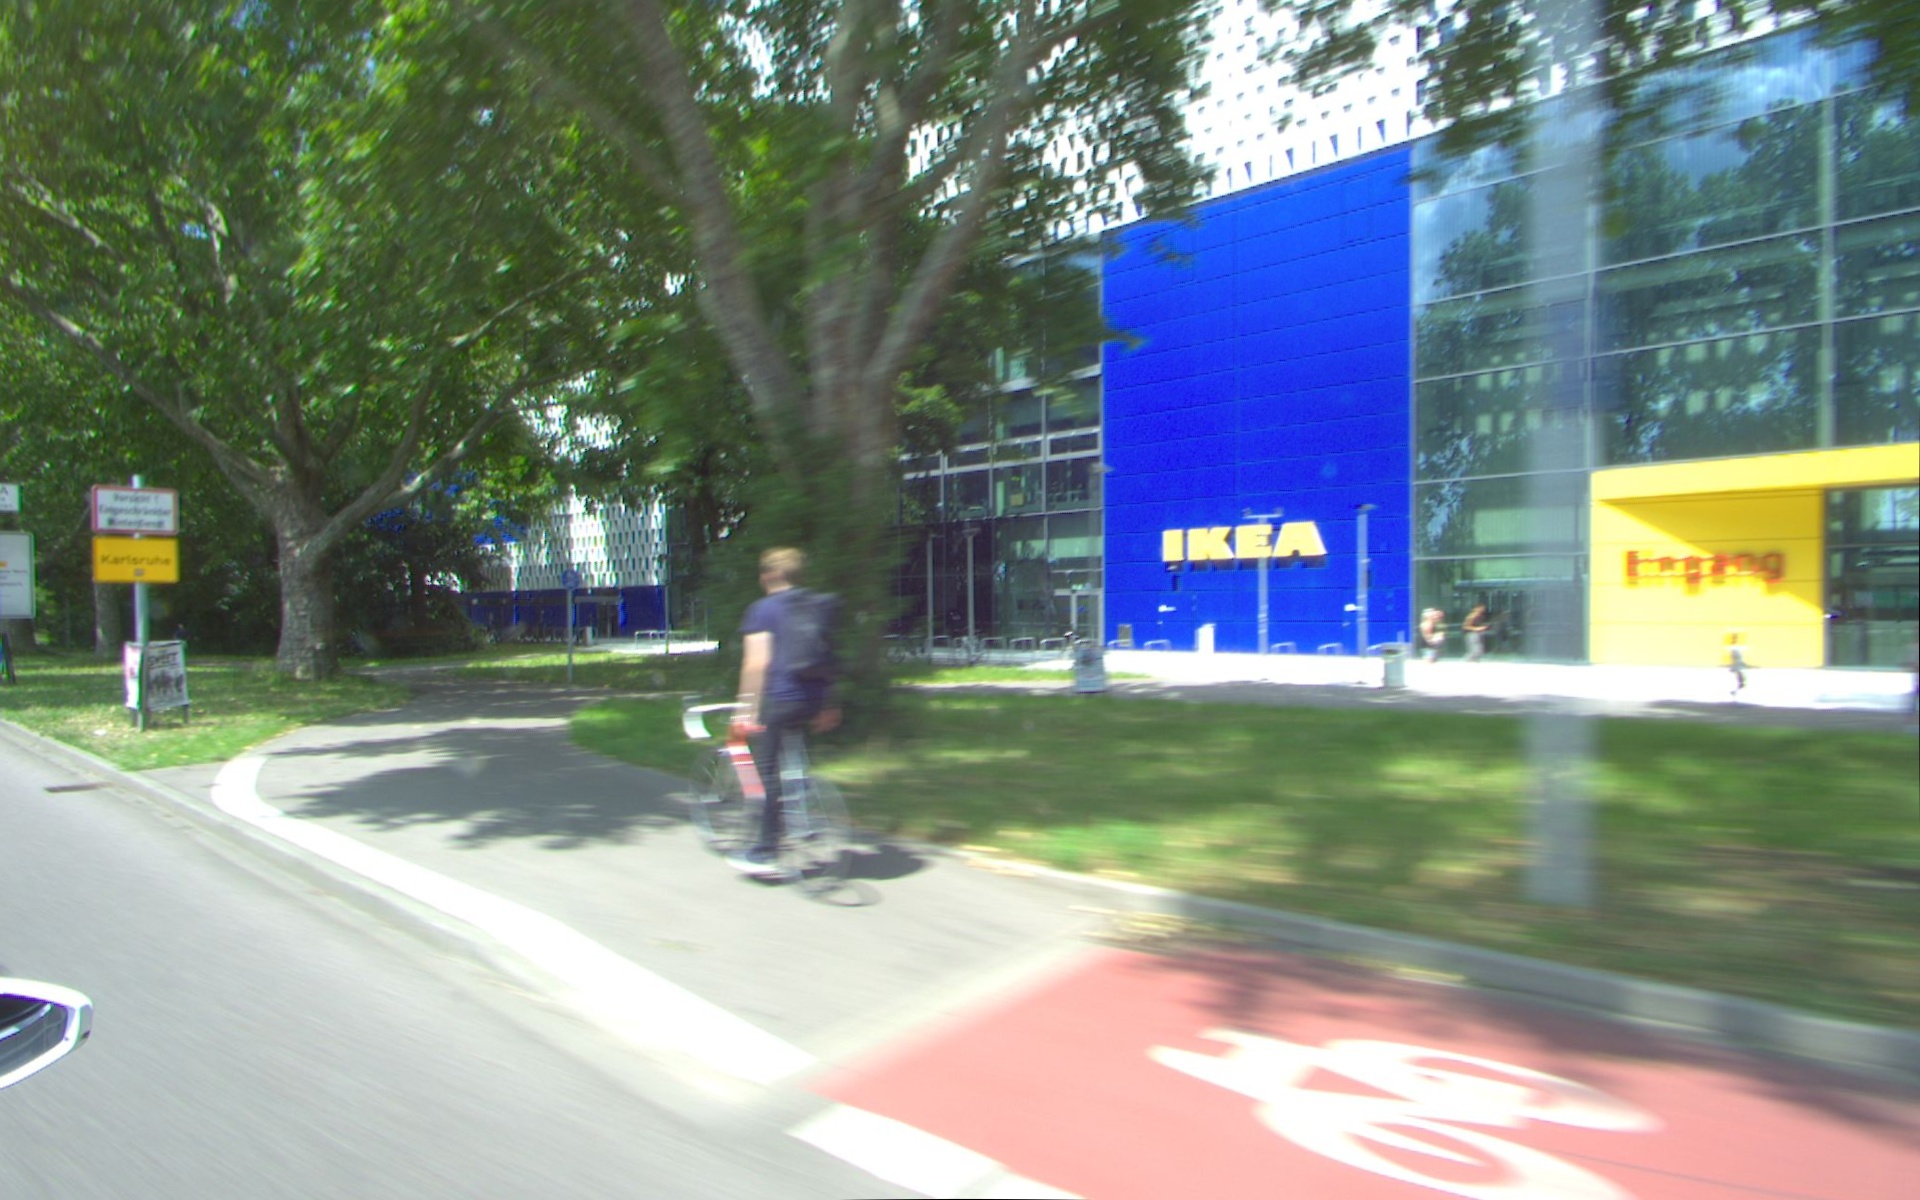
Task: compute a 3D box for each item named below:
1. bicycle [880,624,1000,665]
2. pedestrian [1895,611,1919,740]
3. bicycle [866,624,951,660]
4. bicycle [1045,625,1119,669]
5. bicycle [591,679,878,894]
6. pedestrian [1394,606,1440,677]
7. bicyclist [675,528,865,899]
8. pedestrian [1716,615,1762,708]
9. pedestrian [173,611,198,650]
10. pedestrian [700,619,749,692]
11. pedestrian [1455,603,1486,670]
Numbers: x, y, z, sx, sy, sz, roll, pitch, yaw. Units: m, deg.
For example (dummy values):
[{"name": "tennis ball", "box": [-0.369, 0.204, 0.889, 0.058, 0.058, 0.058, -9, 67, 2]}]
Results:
[{"name": "bicycle", "box": [-0.624, 1.409, 32.324, 3.776, 1.191, 0.983, -1, 1, -24]}, {"name": "pedestrian", "box": [13.624, 1.057, 14.108, 0.662, 1.795, 0.660, 0, 0, 44]}, {"name": "bicycle", "box": [-1.742, 1.397, 34.026, 2.733, 1.136, 0.893, 0, 0, -24]}, {"name": "bicycle", "box": [3.618, 1.357, 29.583, 2.499, 1.191, 0.688, -1, 1, -42]}, {"name": "bicycle", "box": [-1.388, 0.997, 5.887, 2.002, 1.011, 0.617, -3, -3, 42]}, {"name": "pedestrian", "box": [11.656, 1.052, 25.543, 0.770, 1.688, 0.886, -3, 5, 2]}, {"name": "bicyclist", "box": [-1.066, 0.588, 5.591, 0.914, 1.870, 0.606, -1, -2, 42]}, {"name": "pedestrian", "box": [14.199, 1.106, 18.262, 0.658, 1.638, 0.587, 0, 2, 39]}, {"name": "pedestrian", "box": [-41.063, 1.604, 53.081, 0.945, 2.039, 0.833, 0, -2, 40]}, {"name": "pedestrian", "box": [-5.709, 1.322, 24.272, 0.881, 1.717, 0.771, 0, -1, 41]}, {"name": "pedestrian", "box": [13.214, 0.941, 25.912, 0.534, 1.724, 0.421, 1, 0, -11]}]
